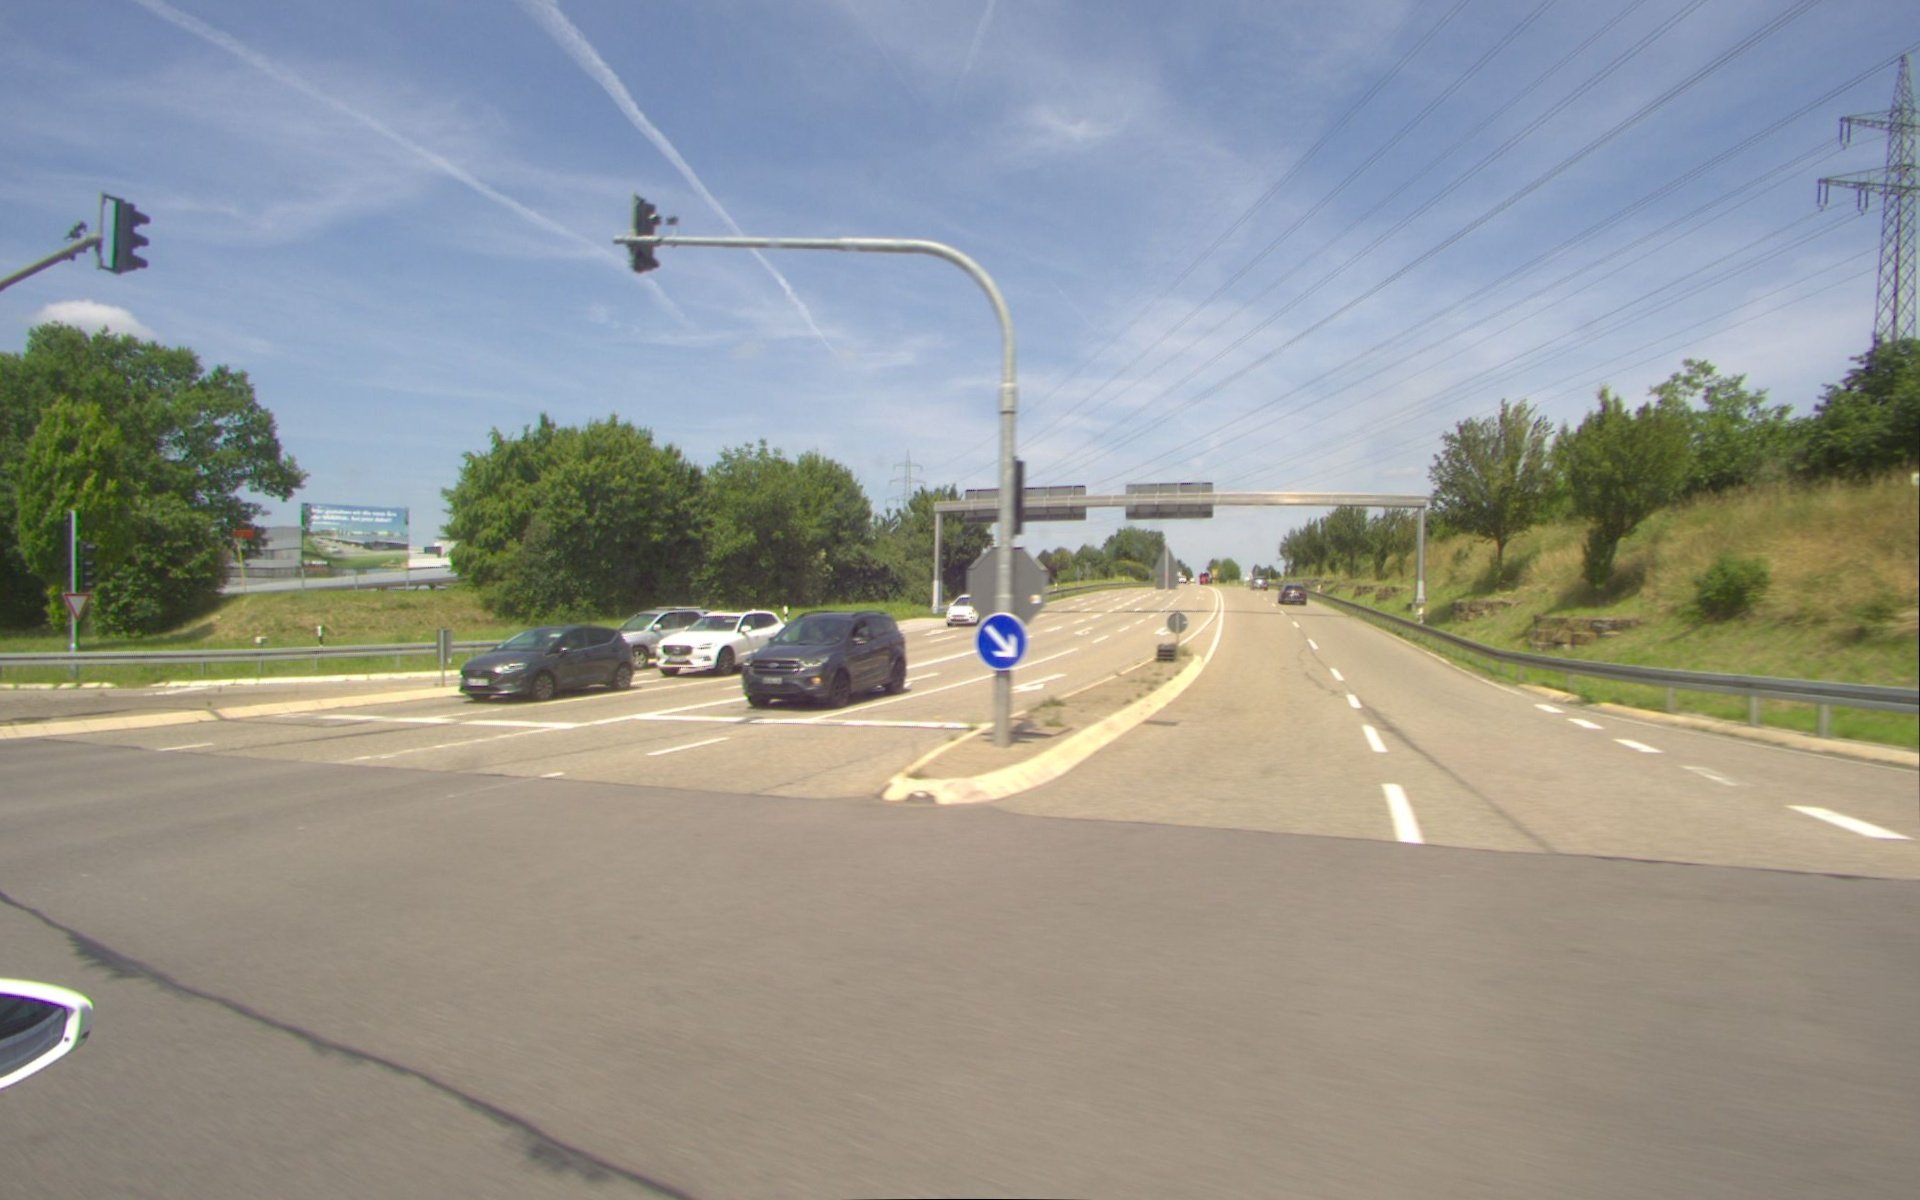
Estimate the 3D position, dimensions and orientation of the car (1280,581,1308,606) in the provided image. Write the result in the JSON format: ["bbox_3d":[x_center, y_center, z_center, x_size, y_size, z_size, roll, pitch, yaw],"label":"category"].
[{"bbox_3d":[24.001,-0.481,72.031,1.720,1.554,4.288,1,3,17],"label":"car"}]

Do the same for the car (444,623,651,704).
[{"bbox_3d":[-8.470,1.249,20.927,1.687,1.530,3.990,-1,-2,23],"label":"car"}]

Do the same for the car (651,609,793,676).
[{"bbox_3d":[-6.424,1.108,27.570,1.748,1.613,4.364,-1,0,18],"label":"car"}]

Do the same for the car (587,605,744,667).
[{"bbox_3d":[-8.900,1.064,30.592,1.814,1.677,4.341,-2,0,37],"label":"car"}]

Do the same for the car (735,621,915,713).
[{"bbox_3d":[-2.416,1.177,19.144,1.685,1.530,4.365,-1,-1,18],"label":"car"}]

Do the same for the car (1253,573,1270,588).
[{"bbox_3d":[34.031,-2.185,113.074,1.720,1.554,4.288,1,3,17],"label":"car"}]

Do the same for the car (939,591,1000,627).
[{"bbox_3d":[0.528,0.421,49.966,1.751,1.621,3.989,0,1,21],"label":"car"}]
